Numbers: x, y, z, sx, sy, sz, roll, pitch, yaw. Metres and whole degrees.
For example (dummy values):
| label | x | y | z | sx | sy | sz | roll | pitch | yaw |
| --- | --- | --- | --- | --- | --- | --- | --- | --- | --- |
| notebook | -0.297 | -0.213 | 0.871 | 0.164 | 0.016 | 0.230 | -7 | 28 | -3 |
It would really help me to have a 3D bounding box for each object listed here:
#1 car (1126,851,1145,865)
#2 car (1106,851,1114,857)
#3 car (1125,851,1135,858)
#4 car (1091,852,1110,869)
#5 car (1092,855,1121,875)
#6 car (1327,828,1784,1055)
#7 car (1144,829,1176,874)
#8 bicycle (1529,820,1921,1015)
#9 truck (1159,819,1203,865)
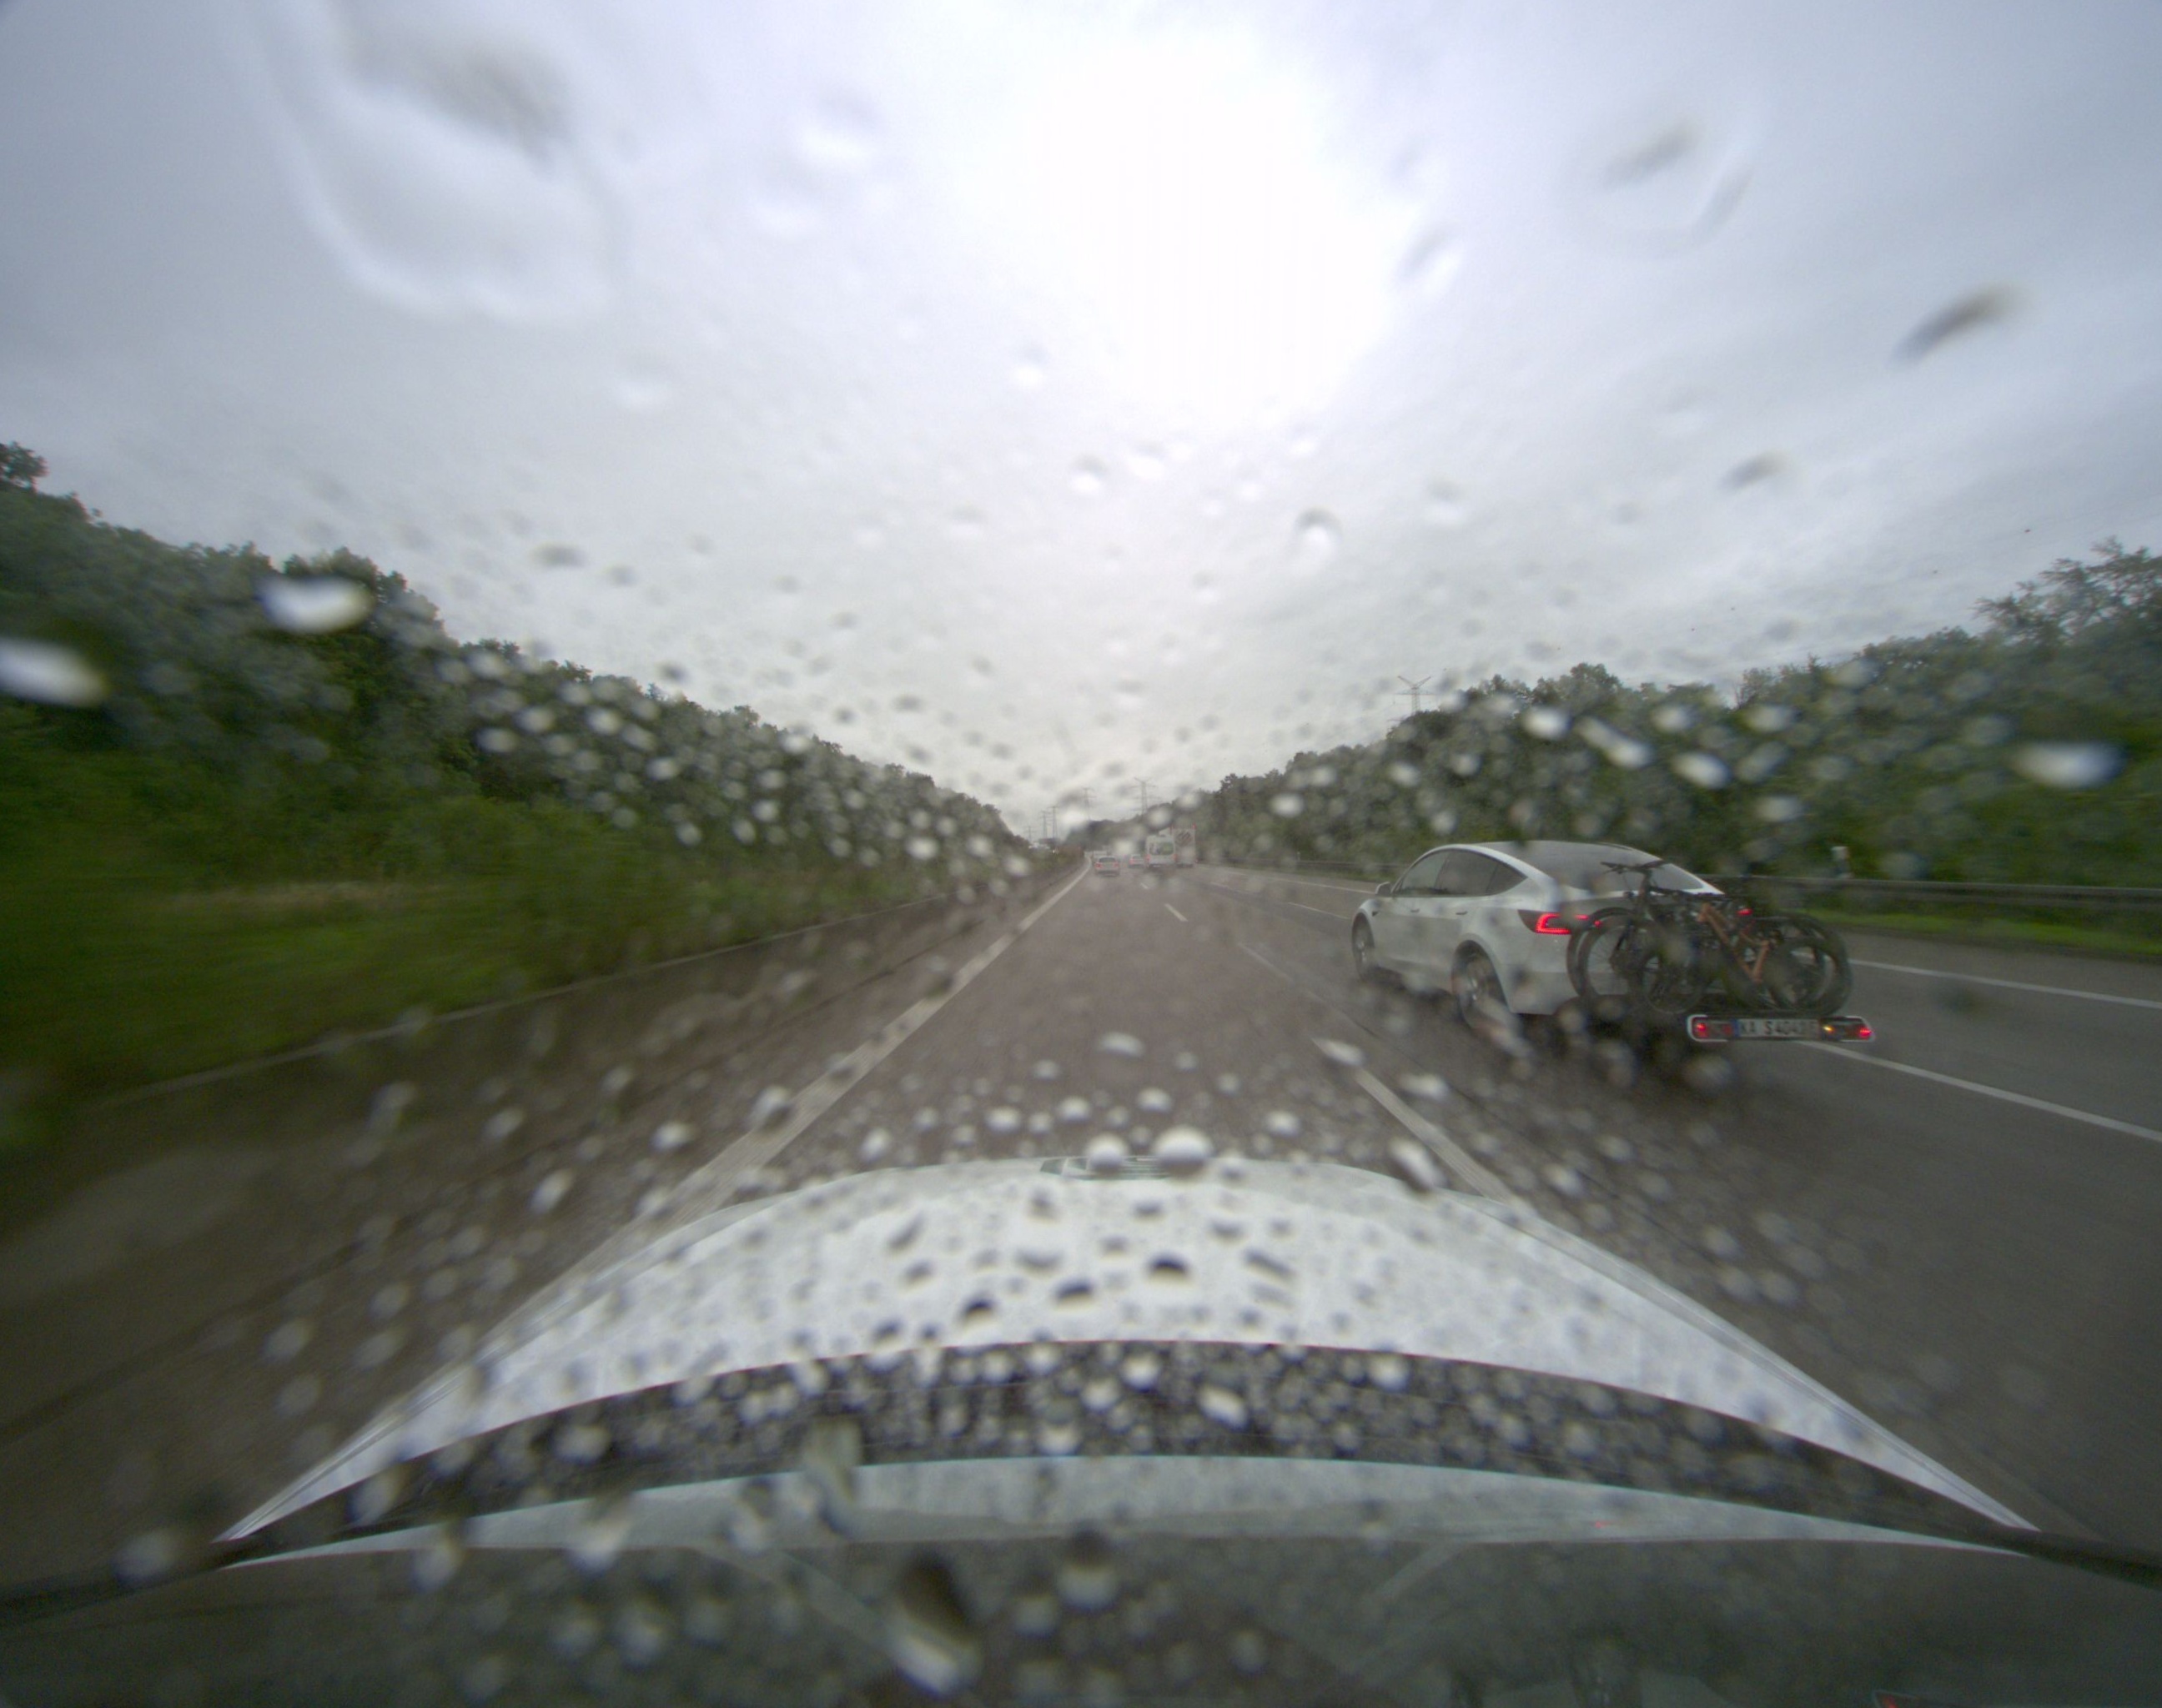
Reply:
| label | x | y | z | sx | sy | sz | roll | pitch | yaw |
| --- | --- | --- | --- | --- | --- | --- | --- | --- | --- |
| car | 5.754 | 0.418 | 85.564 | 1.848 | 1.422 | 4.004 | -2 | 0 | 4 |
| car | 7.713 | -0.037 | 218.232 | 1.985 | 1.574 | 4.003 | -3 | -1 | 3 |
| car | 11.081 | 0.124 | 184.621 | 1.986 | 1.486 | 4.003 | -4 | -1 | 3 |
| car | 2.191 | 0.692 | 89.529 | 1.838 | 1.772 | 4.003 | -3 | 0 | 3 |
| car | 1.842 | 0.751 | 57.416 | 1.859 | 1.288 | 4.003 | -3 | 0 | 3 |
| car | 4.085 | 0.620 | 8.216 | 1.853 | 1.568 | 4.966 | -1 | 0 | 2 |
| car | 5.412 | -0.177 | 56.341 | 1.985 | 2.864 | 4.004 | -3 | 0 | 4 |
| bicycle | 4.003 | 0.379 | 5.205 | 1.747 | 1.090 | 0.914 | -2 | -1 | 0 |
| truck | 10.389 | -1.120 | 86.082 | 3.588 | 4.332 | 13.208 | -2 | 0 | 3 |
